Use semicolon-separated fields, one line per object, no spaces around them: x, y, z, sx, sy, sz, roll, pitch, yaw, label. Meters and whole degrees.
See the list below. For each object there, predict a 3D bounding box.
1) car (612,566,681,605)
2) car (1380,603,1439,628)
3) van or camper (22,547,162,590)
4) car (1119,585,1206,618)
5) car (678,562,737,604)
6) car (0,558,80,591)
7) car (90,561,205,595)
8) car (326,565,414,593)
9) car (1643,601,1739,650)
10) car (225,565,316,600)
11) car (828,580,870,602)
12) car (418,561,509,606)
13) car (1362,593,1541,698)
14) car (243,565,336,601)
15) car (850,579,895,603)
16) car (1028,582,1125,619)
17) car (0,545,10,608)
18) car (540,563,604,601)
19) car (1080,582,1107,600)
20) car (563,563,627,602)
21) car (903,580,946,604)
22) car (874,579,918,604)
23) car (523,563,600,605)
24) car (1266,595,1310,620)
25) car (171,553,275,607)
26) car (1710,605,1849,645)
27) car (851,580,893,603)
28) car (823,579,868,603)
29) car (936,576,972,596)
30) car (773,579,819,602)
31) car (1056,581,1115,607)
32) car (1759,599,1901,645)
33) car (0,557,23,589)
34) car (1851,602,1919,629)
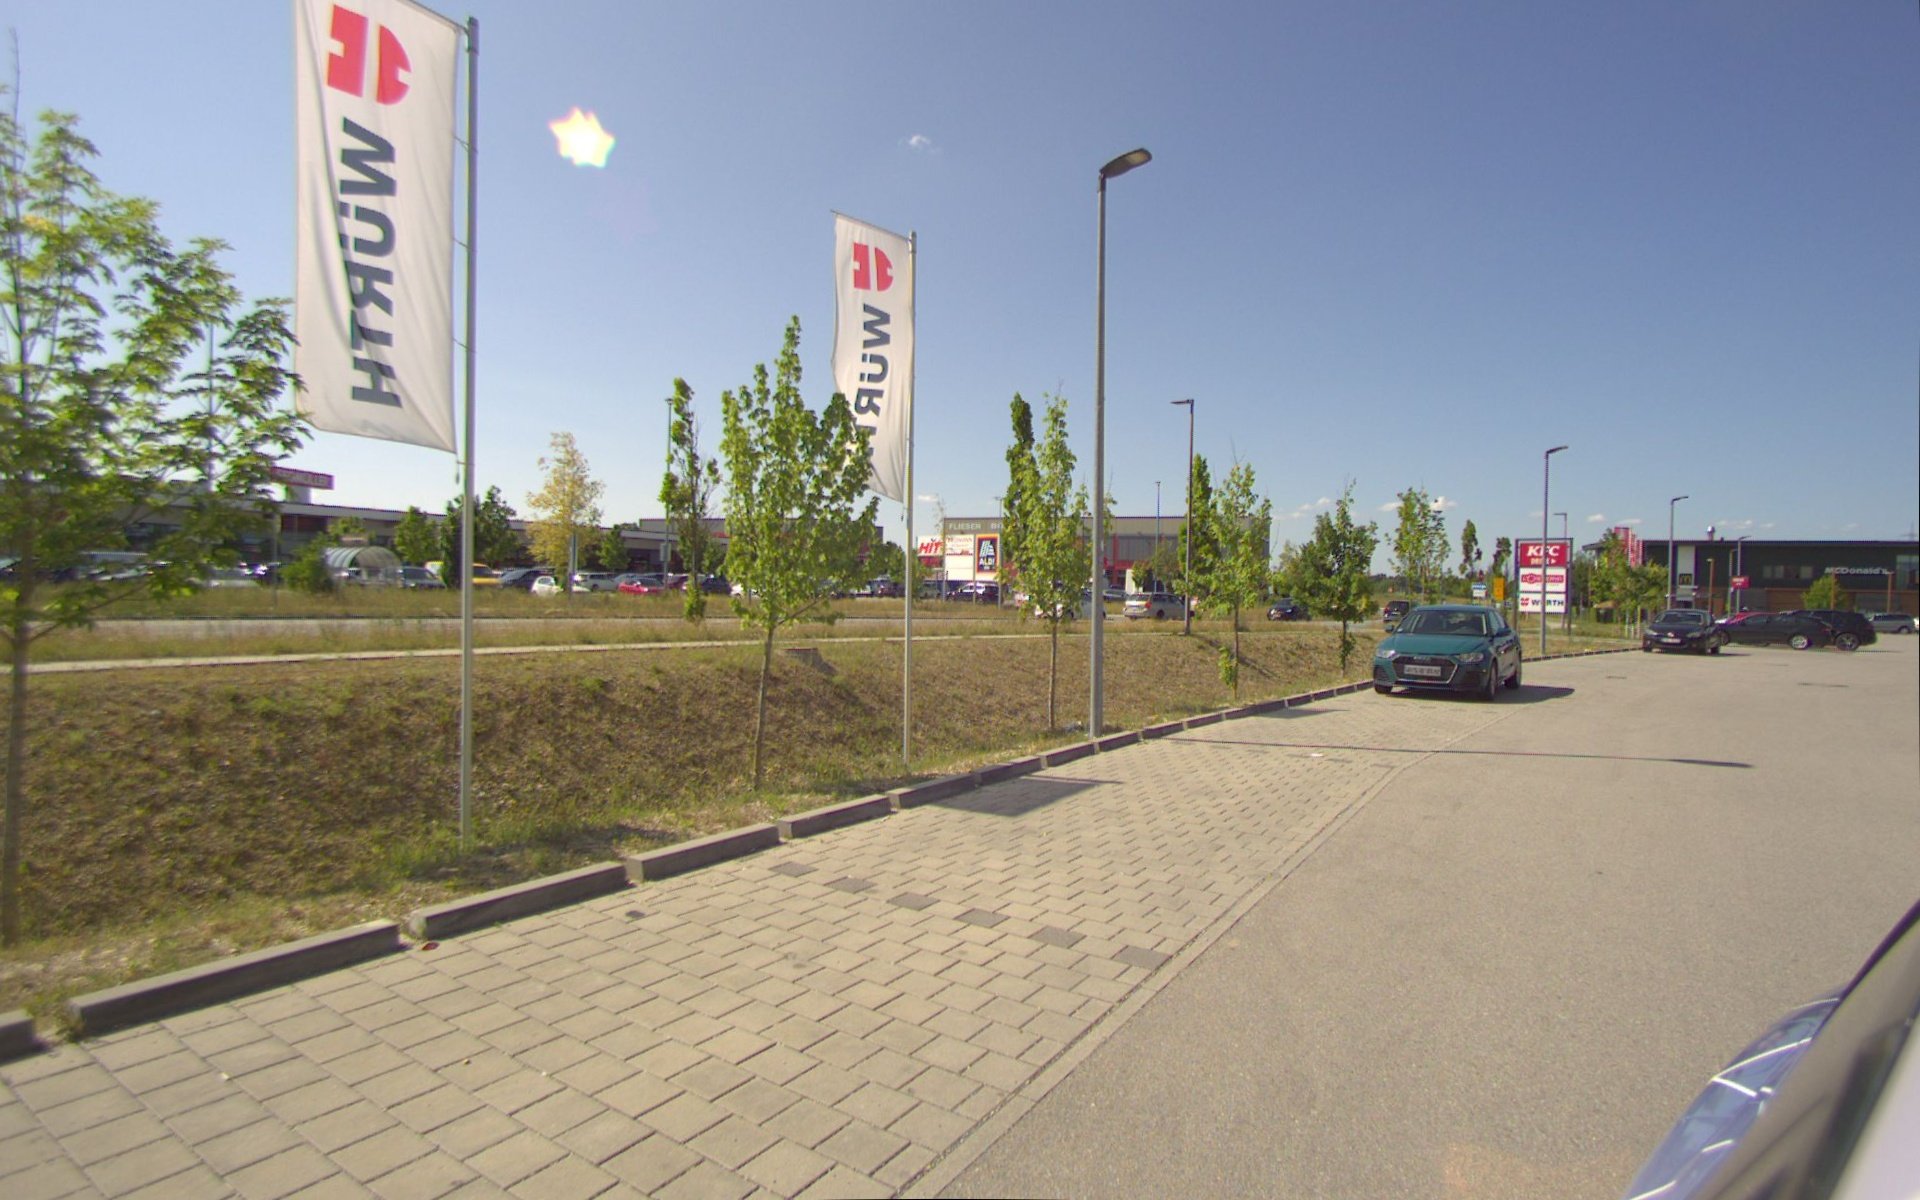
-17.253;-0.825;55.601;4.125;2.039;1.853;2;1;44;car
28.869;0.971;64.949;1.941;1.571;4.684;1;0;44;car
-43.937;-1.553;51.353;1.981;2.039;5.005;2;1;27;van or camper
10.140;0.081;50.486;4.682;1.571;1.942;0;0;-44;car
-17.845;-1.164;71.735;1.974;2.857;4.457;1;0;19;car
-40.754;-1.103;43.798;1.711;1.408;3.706;1;1;21;car
-39.169;-1.039;48.889;1.856;1.527;3.964;1;0;26;car
-34.701;-1.200;59.680;1.639;1.539;4.310;1;0;26;car
24.666;0.825;34.103;4.291;1.484;1.874;1;1;-44;car
-44.122;-1.097;64.848;1.982;2.150;4.439;1;0;29;car
-10.584;-0.839;96.438;1.979;2.063;4.446;1;0;25;car
-23.657;-0.796;48.145;5.096;2.039;2.132;2;1;42;car
8.234;0.661;16.760;1.836;1.468;4.169;2;1;38;car
-41.875;-1.048;63.303;1.982;2.129;4.439;1;0;29;car
-7.711;-0.757;89.586;1.979;2.063;4.446;1;0;25;car
5.277;0.020;45.411;1.940;1.571;4.687;1;0;43;car
-33.964;-0.833;34.134;5.091;2.039;2.134;2;1;39;car
-29.817;-1.356;77.913;1.979;2.857;4.446;1;0;25;car
15.573;-1.056;117.744;1.979;2.063;4.446;1;0;25;car
-27.432;-1.314;76.137;1.979;2.857;4.446;1;0;25;car
-3.015;-0.678;86.724;1.979;2.063;4.446;1;0;25;car
-5.496;-0.718;88.015;1.979;2.063;4.446;1;0;25;car
-20.516;-0.848;52.038;4.393;2.039;1.915;2;1;42;car
21.420;0.503;65.951;1.815;1.561;3.953;1;0;32;car
-29.476;-0.818;40.443;5.091;2.039;2.134;2;1;39;car
34.795;1.043;43.077;4.514;1.477;1.971;2;1;41;car
-8.192;-0.798;94.833;1.979;2.063;4.446;1;0;25;car
-10.215;-0.794;90.348;1.979;2.063;4.446;1;0;25;car
-0.589;-1.434;104.923;1.979;2.063;4.446;1;0;25;car
-14.935;-0.867;92.415;1.979;2.063;4.446;1;0;25;car
10.402;-0.490;84.015;4.458;2.063;1.973;1;0;37;car
38.636;0.942;45.049;1.964;1.858;4.529;1;1;-39;car
-43.524;-1.179;44.011;1.711;1.408;3.706;1;1;21;car
74.685;1.238;81.098;4.436;2.039;1.983;1;0;24;car
